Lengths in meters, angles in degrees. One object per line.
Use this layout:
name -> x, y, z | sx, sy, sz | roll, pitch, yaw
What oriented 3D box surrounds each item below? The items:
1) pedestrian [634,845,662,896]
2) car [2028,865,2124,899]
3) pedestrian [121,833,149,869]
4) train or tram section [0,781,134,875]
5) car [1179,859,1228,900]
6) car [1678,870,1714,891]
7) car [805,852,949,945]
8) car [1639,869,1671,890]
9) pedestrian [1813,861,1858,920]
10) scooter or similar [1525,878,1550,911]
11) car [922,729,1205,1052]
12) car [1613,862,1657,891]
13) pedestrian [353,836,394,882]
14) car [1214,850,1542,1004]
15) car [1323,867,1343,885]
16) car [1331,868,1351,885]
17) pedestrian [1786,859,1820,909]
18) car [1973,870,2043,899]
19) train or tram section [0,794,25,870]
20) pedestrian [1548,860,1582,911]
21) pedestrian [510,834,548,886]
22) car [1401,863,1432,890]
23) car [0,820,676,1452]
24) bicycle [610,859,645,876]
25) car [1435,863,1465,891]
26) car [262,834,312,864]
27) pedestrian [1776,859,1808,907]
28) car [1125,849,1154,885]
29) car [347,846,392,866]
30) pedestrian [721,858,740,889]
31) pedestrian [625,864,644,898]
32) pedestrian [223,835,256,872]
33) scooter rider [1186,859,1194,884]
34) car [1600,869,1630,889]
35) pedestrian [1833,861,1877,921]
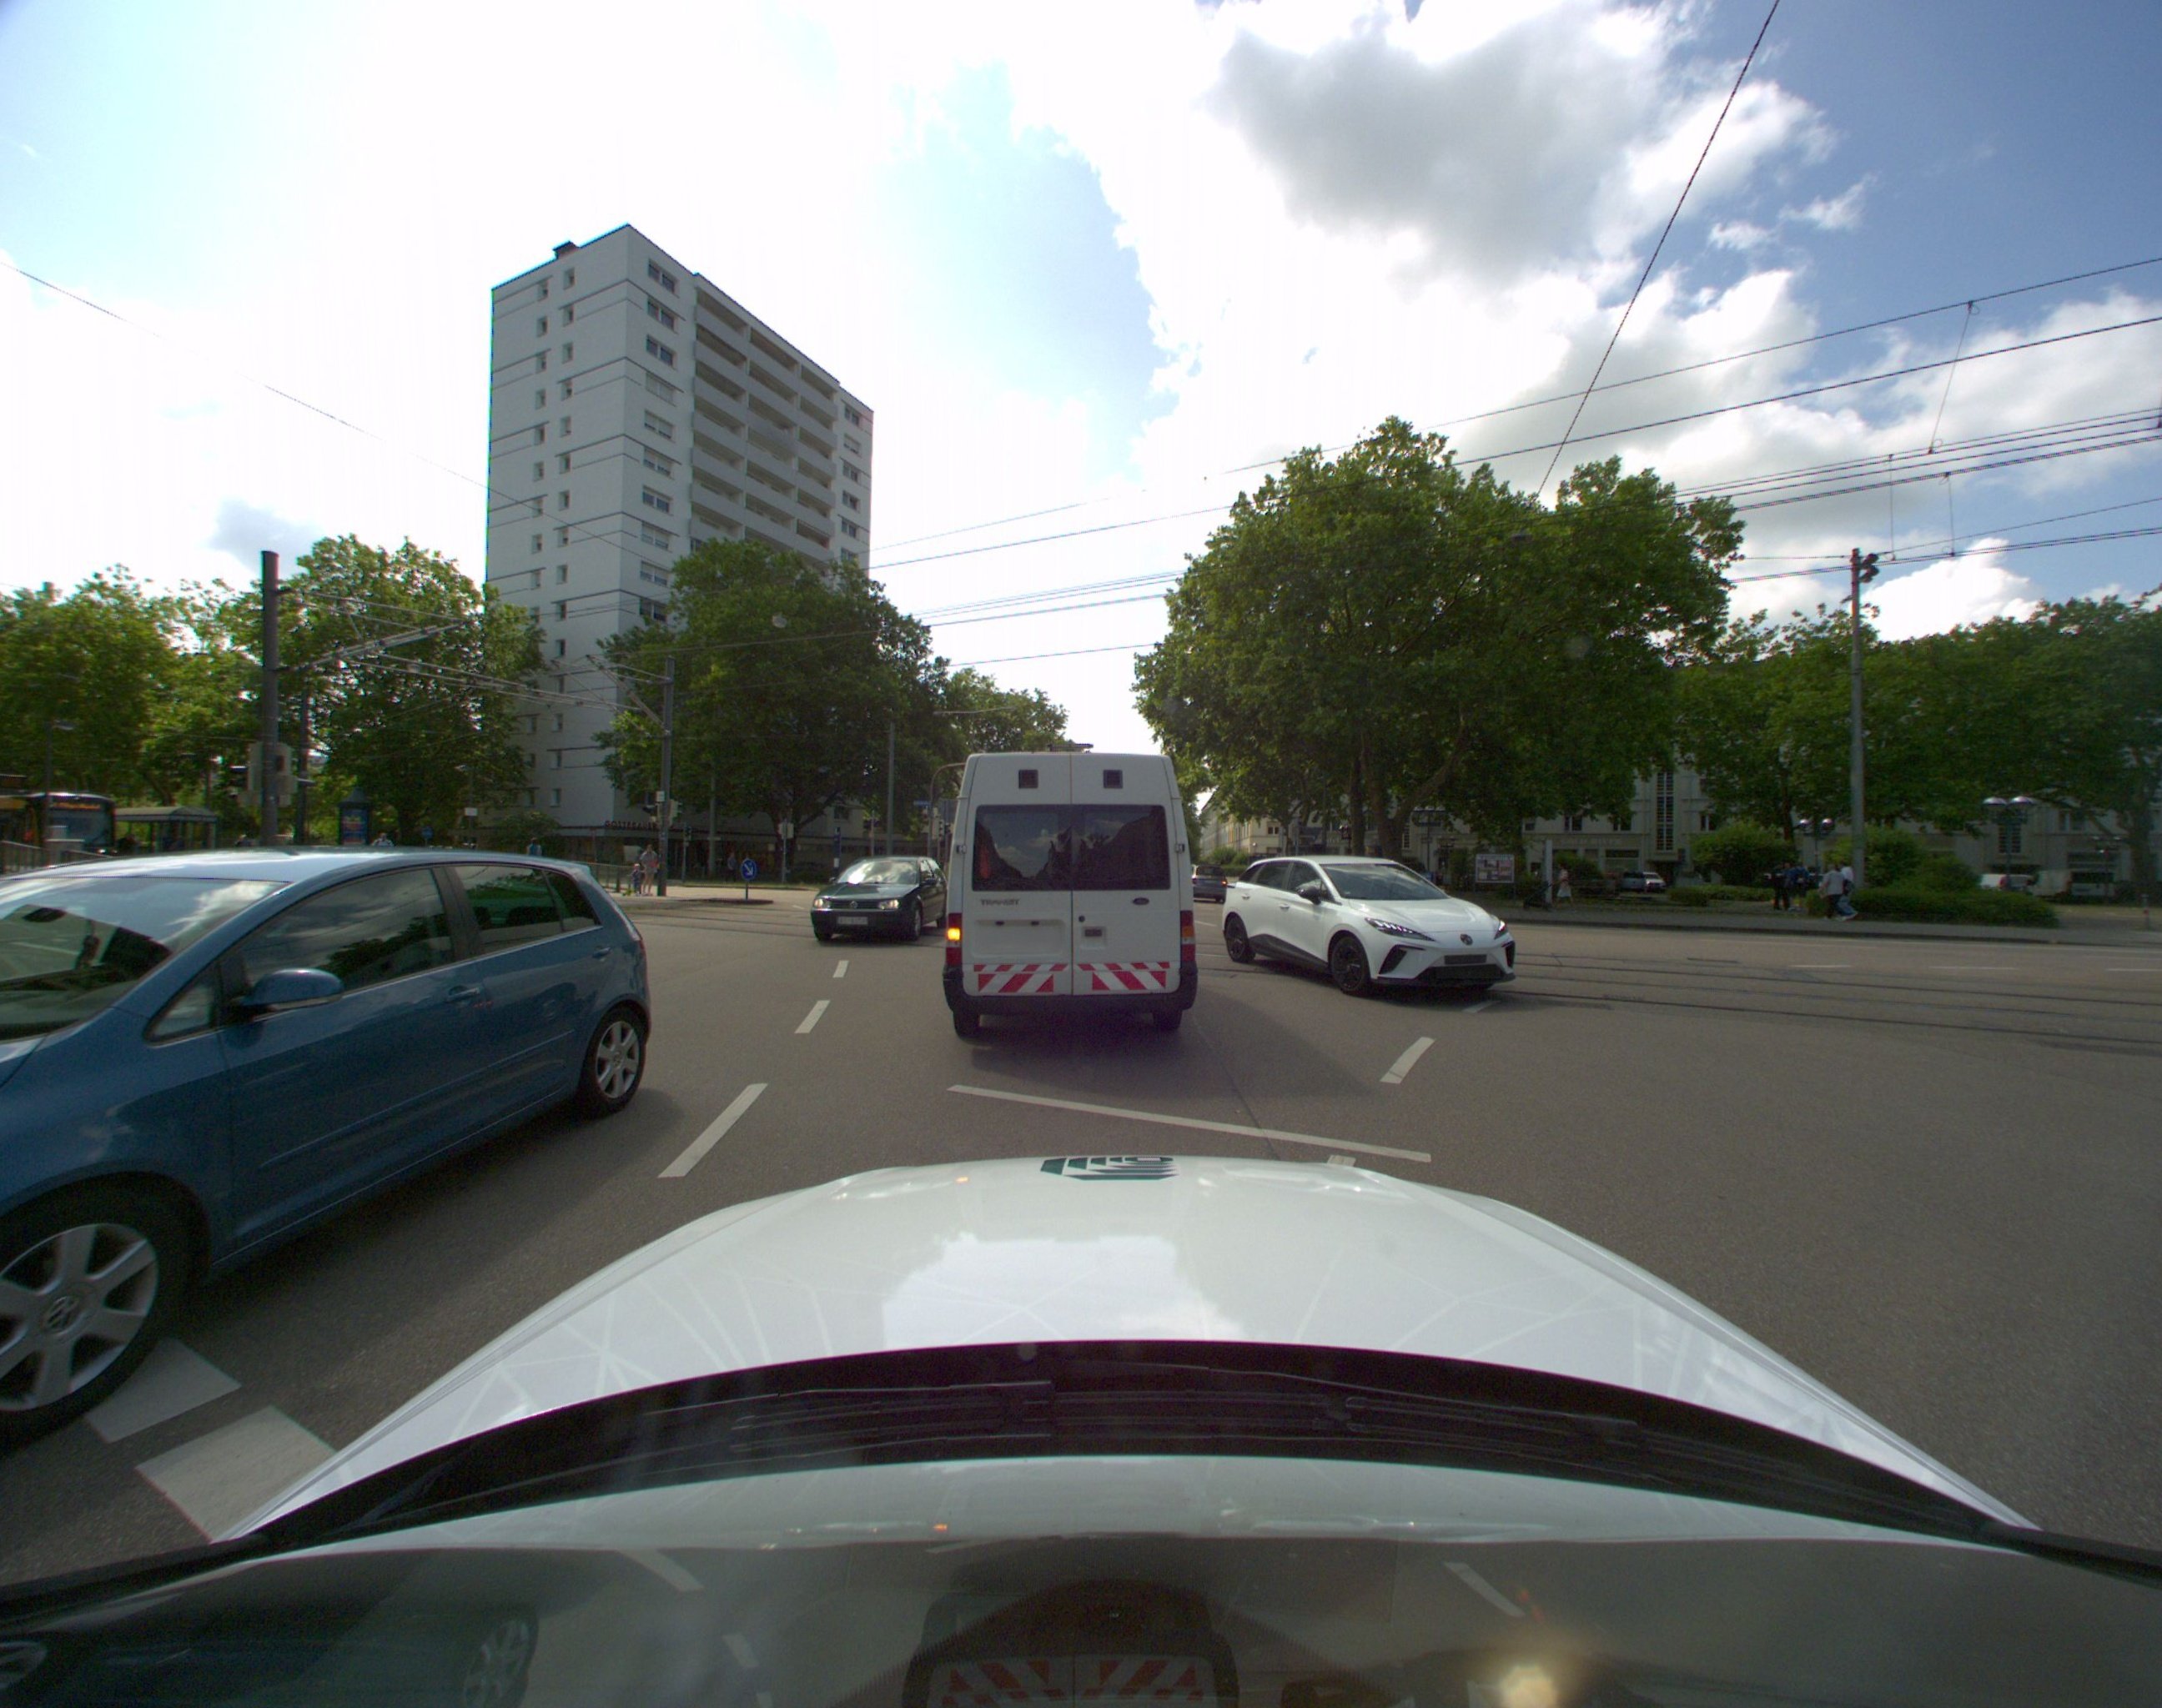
pedestrian -> -14.417, 0.553, 27.093 | 0.668, 1.666, 0.629 | 0, -1, 45
car -> 60.099, 1.660, 49.320 | 2.078, 1.905, 4.518 | 0, -1, 28
pedestrian -> -49.873, -0.159, 42.932 | 0.779, 1.849, 0.707 | 0, -1, 25
train or tram section -> -45.423, -1.022, 34.964 | 12.855, 3.584, 2.832 | 0, -1, 25
car -> 4.958, 0.996, 33.265 | 1.684, 1.538, 3.472 | 1, 0, 4
car -> 49.833, 2.120, 66.080 | 1.722, 1.637, 4.024 | 0, -1, 28
car -> -3.520, 0.699, 14.750 | 1.708, 1.433, 3.816 | -1, 0, -1
car -> 47.413, 2.111, 67.332 | 1.722, 1.637, 4.024 | 0, -1, 28
pedestrian -> 22.438, 1.063, 24.230 | 0.714, 1.722, 0.693 | 1, -1, 2
scooter or similar -> 15.225, 1.332, 27.159 | 0.699, 1.056, 0.494 | 0, -1, 27
car -> -0.230, 0.269, 8.297 | 2.042, 2.333, 4.709 | 1, 0, -3
car -> 40.243, 1.647, 59.267 | 1.975, 2.014, 4.022 | 0, -1, 24
pedestrian -> -28.078, 0.189, 32.327 | 1.032, 1.780, 0.856 | 0, -1, 26
car -> 3.359, 0.727, 10.159 | 1.818, 1.506, 4.109 | 1, 0, -15
car -> 19.730, 1.704, 63.734 | 1.454, 1.389, 3.080 | 1, -1, 17
car -> 21.422, 1.825, 67.097 | 1.453, 1.389, 3.251 | 1, -1, 19
pedestrian -> 25.853, 1.064, 29.157 | 0.694, 1.750, 0.606 | 1, -1, 2
car -> 66.391, 2.134, 58.403 | 1.975, 1.964, 4.024 | 0, -1, 28
train or tram section -> -55.860, -1.110, 39.892 | 10.275, 3.584, 2.821 | 0, -1, 25
pedestrian -> 15.916, 1.030, 26.781 | 0.911, 1.646, 0.573 | 0, -1, 27
pedestrian -> -20.479, 0.224, 30.212 | 0.836, 1.899, 0.834 | 0, -1, 26
car -> 26.917, 1.758, 65.257 | 1.975, 2.076, 4.023 | 1, -1, 27
car -> -3.525, 0.716, 3.331 | 1.742, 1.540, 3.931 | -2, 0, 0
bicycle -> -27.411, 0.839, 49.228 | 1.736, 1.009, 0.528 | 1, -1, -37
car -> 28.963, 1.761, 63.865 | 1.975, 2.076, 4.023 | 1, -1, 27
car -> -73.155, -0.460, 75.044 | 4.225, 2.775, 1.823 | 0, -1, 25
pedestrian -> 26.526, 1.065, 30.392 | 0.694, 1.750, 0.606 | 1, -1, 2
car -> 4.614, 1.001, 64.202 | 2.110, 2.641, 6.335 | 1, 0, 4
car -> -69.487, 0.206, 79.489 | 4.284, 1.815, 1.824 | 0, -1, 27
pedestrian -> -18.591, 1.033, 43.182 | 0.775, 1.599, 0.538 | 0, -1, 23
pedestrian -> -14.516, 0.877, 26.470 | 0.423, 1.063, 0.431 | 2, -1, -44
pedestrian -> -41.136, -0.030, 39.810 | 0.866, 1.775, 0.865 | 0, -1, 26
scooter rider -> 7.908, 1.284, 58.966 | 0.524, 1.812, 0.649 | 1, -1, 1
car -> 44.906, 2.100, 68.587 | 1.722, 1.637, 4.024 | 0, -1, 28
pedestrian -> 23.172, 1.087, 24.393 | 0.665, 1.764, 0.693 | 1, -1, 2
